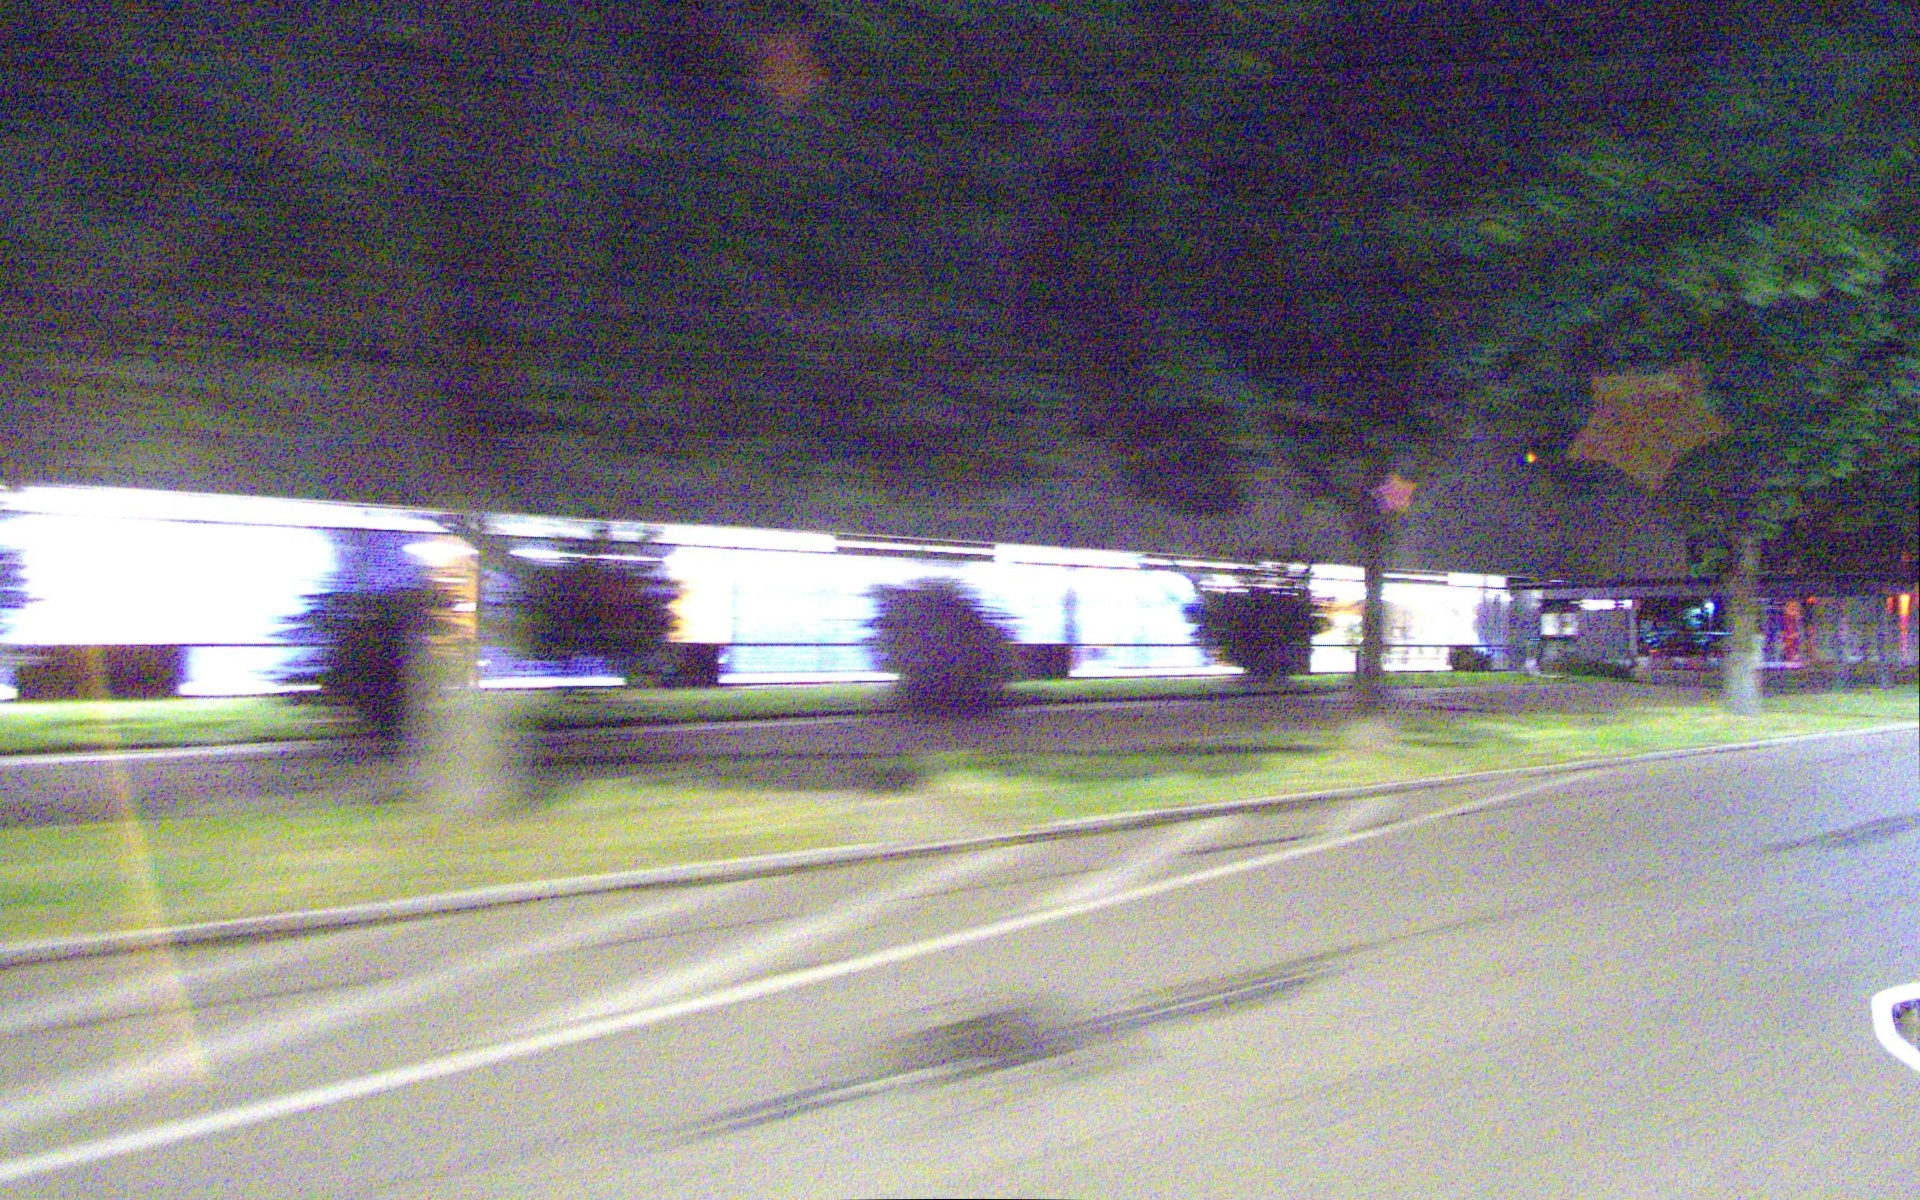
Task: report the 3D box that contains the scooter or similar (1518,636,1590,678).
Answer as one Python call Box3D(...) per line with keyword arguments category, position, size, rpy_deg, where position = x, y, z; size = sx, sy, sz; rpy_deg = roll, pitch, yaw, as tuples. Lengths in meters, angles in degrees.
Box3D(category="scooter or similar", position=(16.325, 1.559, 27.635), size=(0.537, 1.021, 1.667), rpy_deg=(1, 1, -28))
